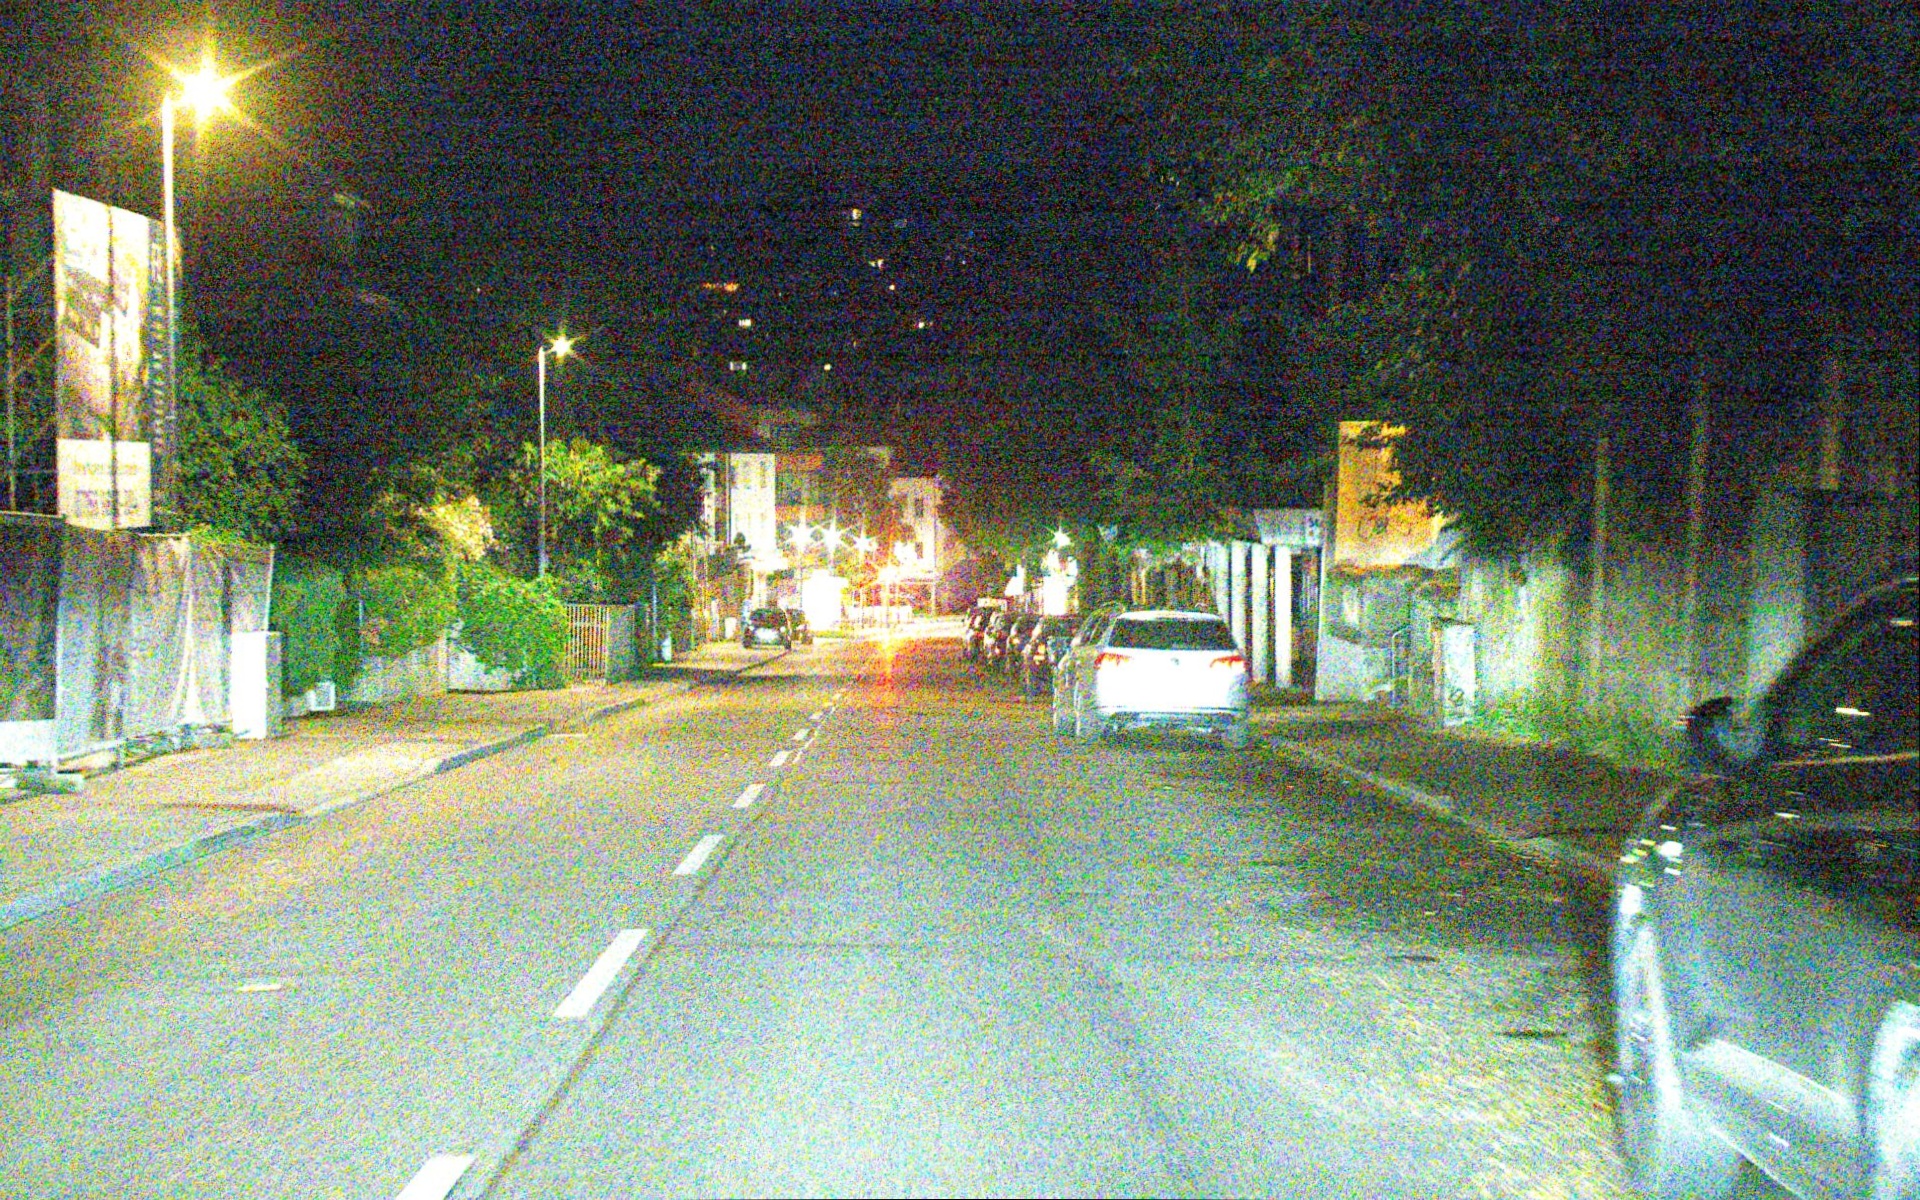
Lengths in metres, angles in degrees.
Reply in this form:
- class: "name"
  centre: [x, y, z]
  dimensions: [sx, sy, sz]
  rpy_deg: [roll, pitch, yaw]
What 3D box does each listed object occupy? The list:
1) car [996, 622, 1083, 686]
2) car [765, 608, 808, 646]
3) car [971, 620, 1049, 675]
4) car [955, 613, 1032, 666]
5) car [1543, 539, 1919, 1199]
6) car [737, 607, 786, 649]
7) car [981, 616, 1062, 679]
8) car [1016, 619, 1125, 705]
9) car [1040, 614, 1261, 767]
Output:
- class: "car"
  centre: [1.876, 1.234, 79.766]
  dimensions: [1.868, 1.398, 3.999]
  rpy_deg: [1, 0, 3]
- class: "car"
  centre: [-7.231, 1.119, 143.719]
  dimensions: [1.753, 1.534, 3.731]
  rpy_deg: [0, 0, -2]
- class: "car"
  centre: [1.373, 1.309, 95.218]
  dimensions: [1.682, 1.444, 4.001]
  rpy_deg: [1, 0, -6]
- class: "car"
  centre: [0.947, 1.130, 99.861]
  dimensions: [1.682, 1.444, 4.001]
  rpy_deg: [1, 0, -7]
- class: "car"
  centre: [2.490, 0.736, 7.227]
  dimensions: [1.832, 1.658, 4.618]
  rpy_deg: [0, 0, 1]
- class: "car"
  centre: [-7.313, 1.031, 126.595]
  dimensions: [1.753, 1.534, 3.731]
  rpy_deg: [0, 0, -4]
- class: "car"
  centre: [1.487, 1.151, 84.612]
  dimensions: [1.682, 1.444, 4.000]
  rpy_deg: [1, 0, -3]
- class: "car"
  centre: [1.910, 1.064, 60.177]
  dimensions: [1.629, 1.434, 3.865]
  rpy_deg: [0, 0, -2]
- class: "car"
  centre: [1.974, 0.919, 36.822]
  dimensions: [1.763, 1.470, 4.276]
  rpy_deg: [2, 0, -4]
